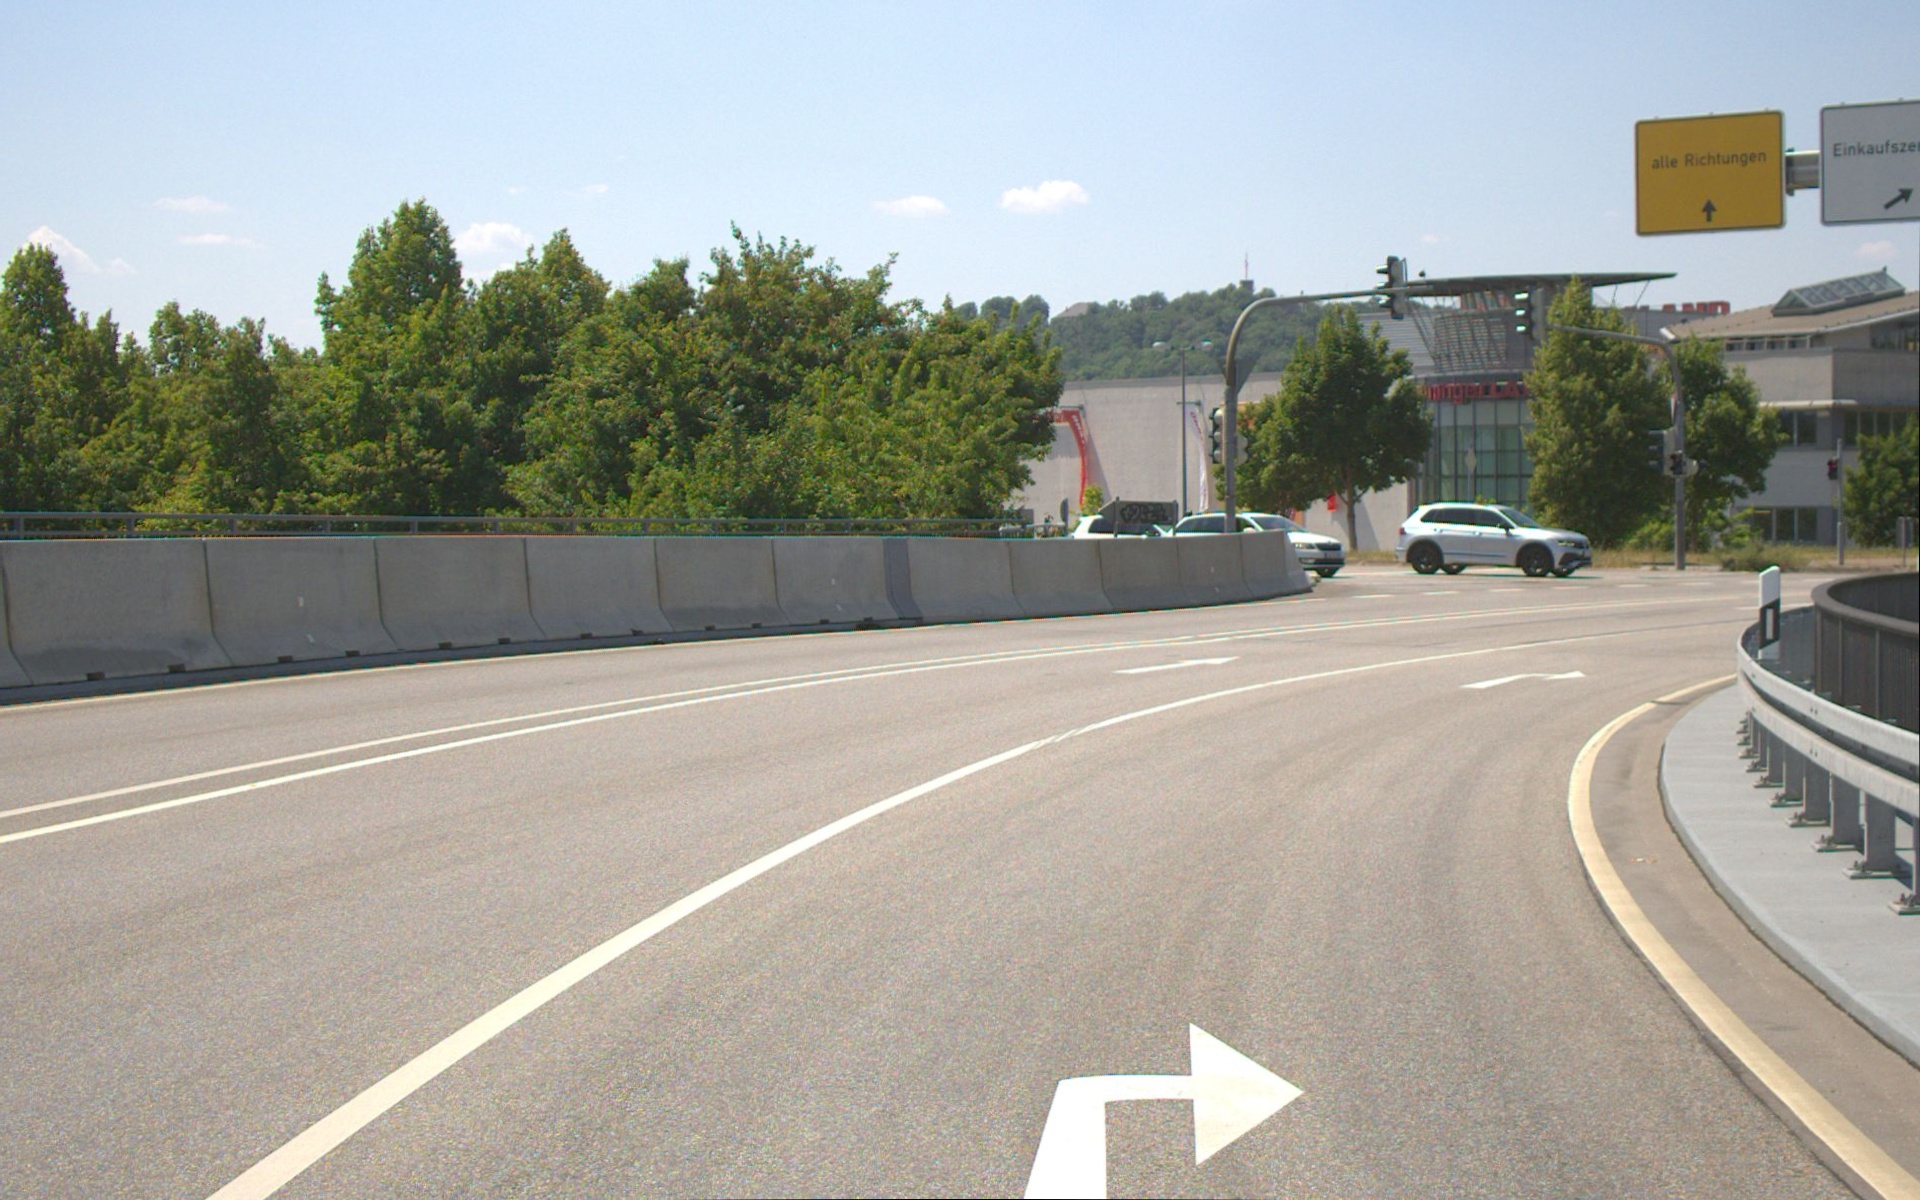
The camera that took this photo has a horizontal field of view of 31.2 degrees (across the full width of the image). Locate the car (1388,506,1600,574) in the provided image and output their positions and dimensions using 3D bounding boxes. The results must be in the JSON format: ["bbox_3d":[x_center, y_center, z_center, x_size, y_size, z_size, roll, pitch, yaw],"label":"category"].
[{"bbox_3d":[12.255,-1.367,78.925,4.388,1.500,1.997,0,1,28],"label":"car"}]

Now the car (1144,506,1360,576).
[{"bbox_3d":[6.525,-1.342,77.042,4.546,1.490,1.789,1,2,37],"label":"car"}]

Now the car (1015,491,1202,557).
[{"bbox_3d":[3.645,-1.897,84.679,4.130,1.481,1.996,3,3,34],"label":"car"}]
